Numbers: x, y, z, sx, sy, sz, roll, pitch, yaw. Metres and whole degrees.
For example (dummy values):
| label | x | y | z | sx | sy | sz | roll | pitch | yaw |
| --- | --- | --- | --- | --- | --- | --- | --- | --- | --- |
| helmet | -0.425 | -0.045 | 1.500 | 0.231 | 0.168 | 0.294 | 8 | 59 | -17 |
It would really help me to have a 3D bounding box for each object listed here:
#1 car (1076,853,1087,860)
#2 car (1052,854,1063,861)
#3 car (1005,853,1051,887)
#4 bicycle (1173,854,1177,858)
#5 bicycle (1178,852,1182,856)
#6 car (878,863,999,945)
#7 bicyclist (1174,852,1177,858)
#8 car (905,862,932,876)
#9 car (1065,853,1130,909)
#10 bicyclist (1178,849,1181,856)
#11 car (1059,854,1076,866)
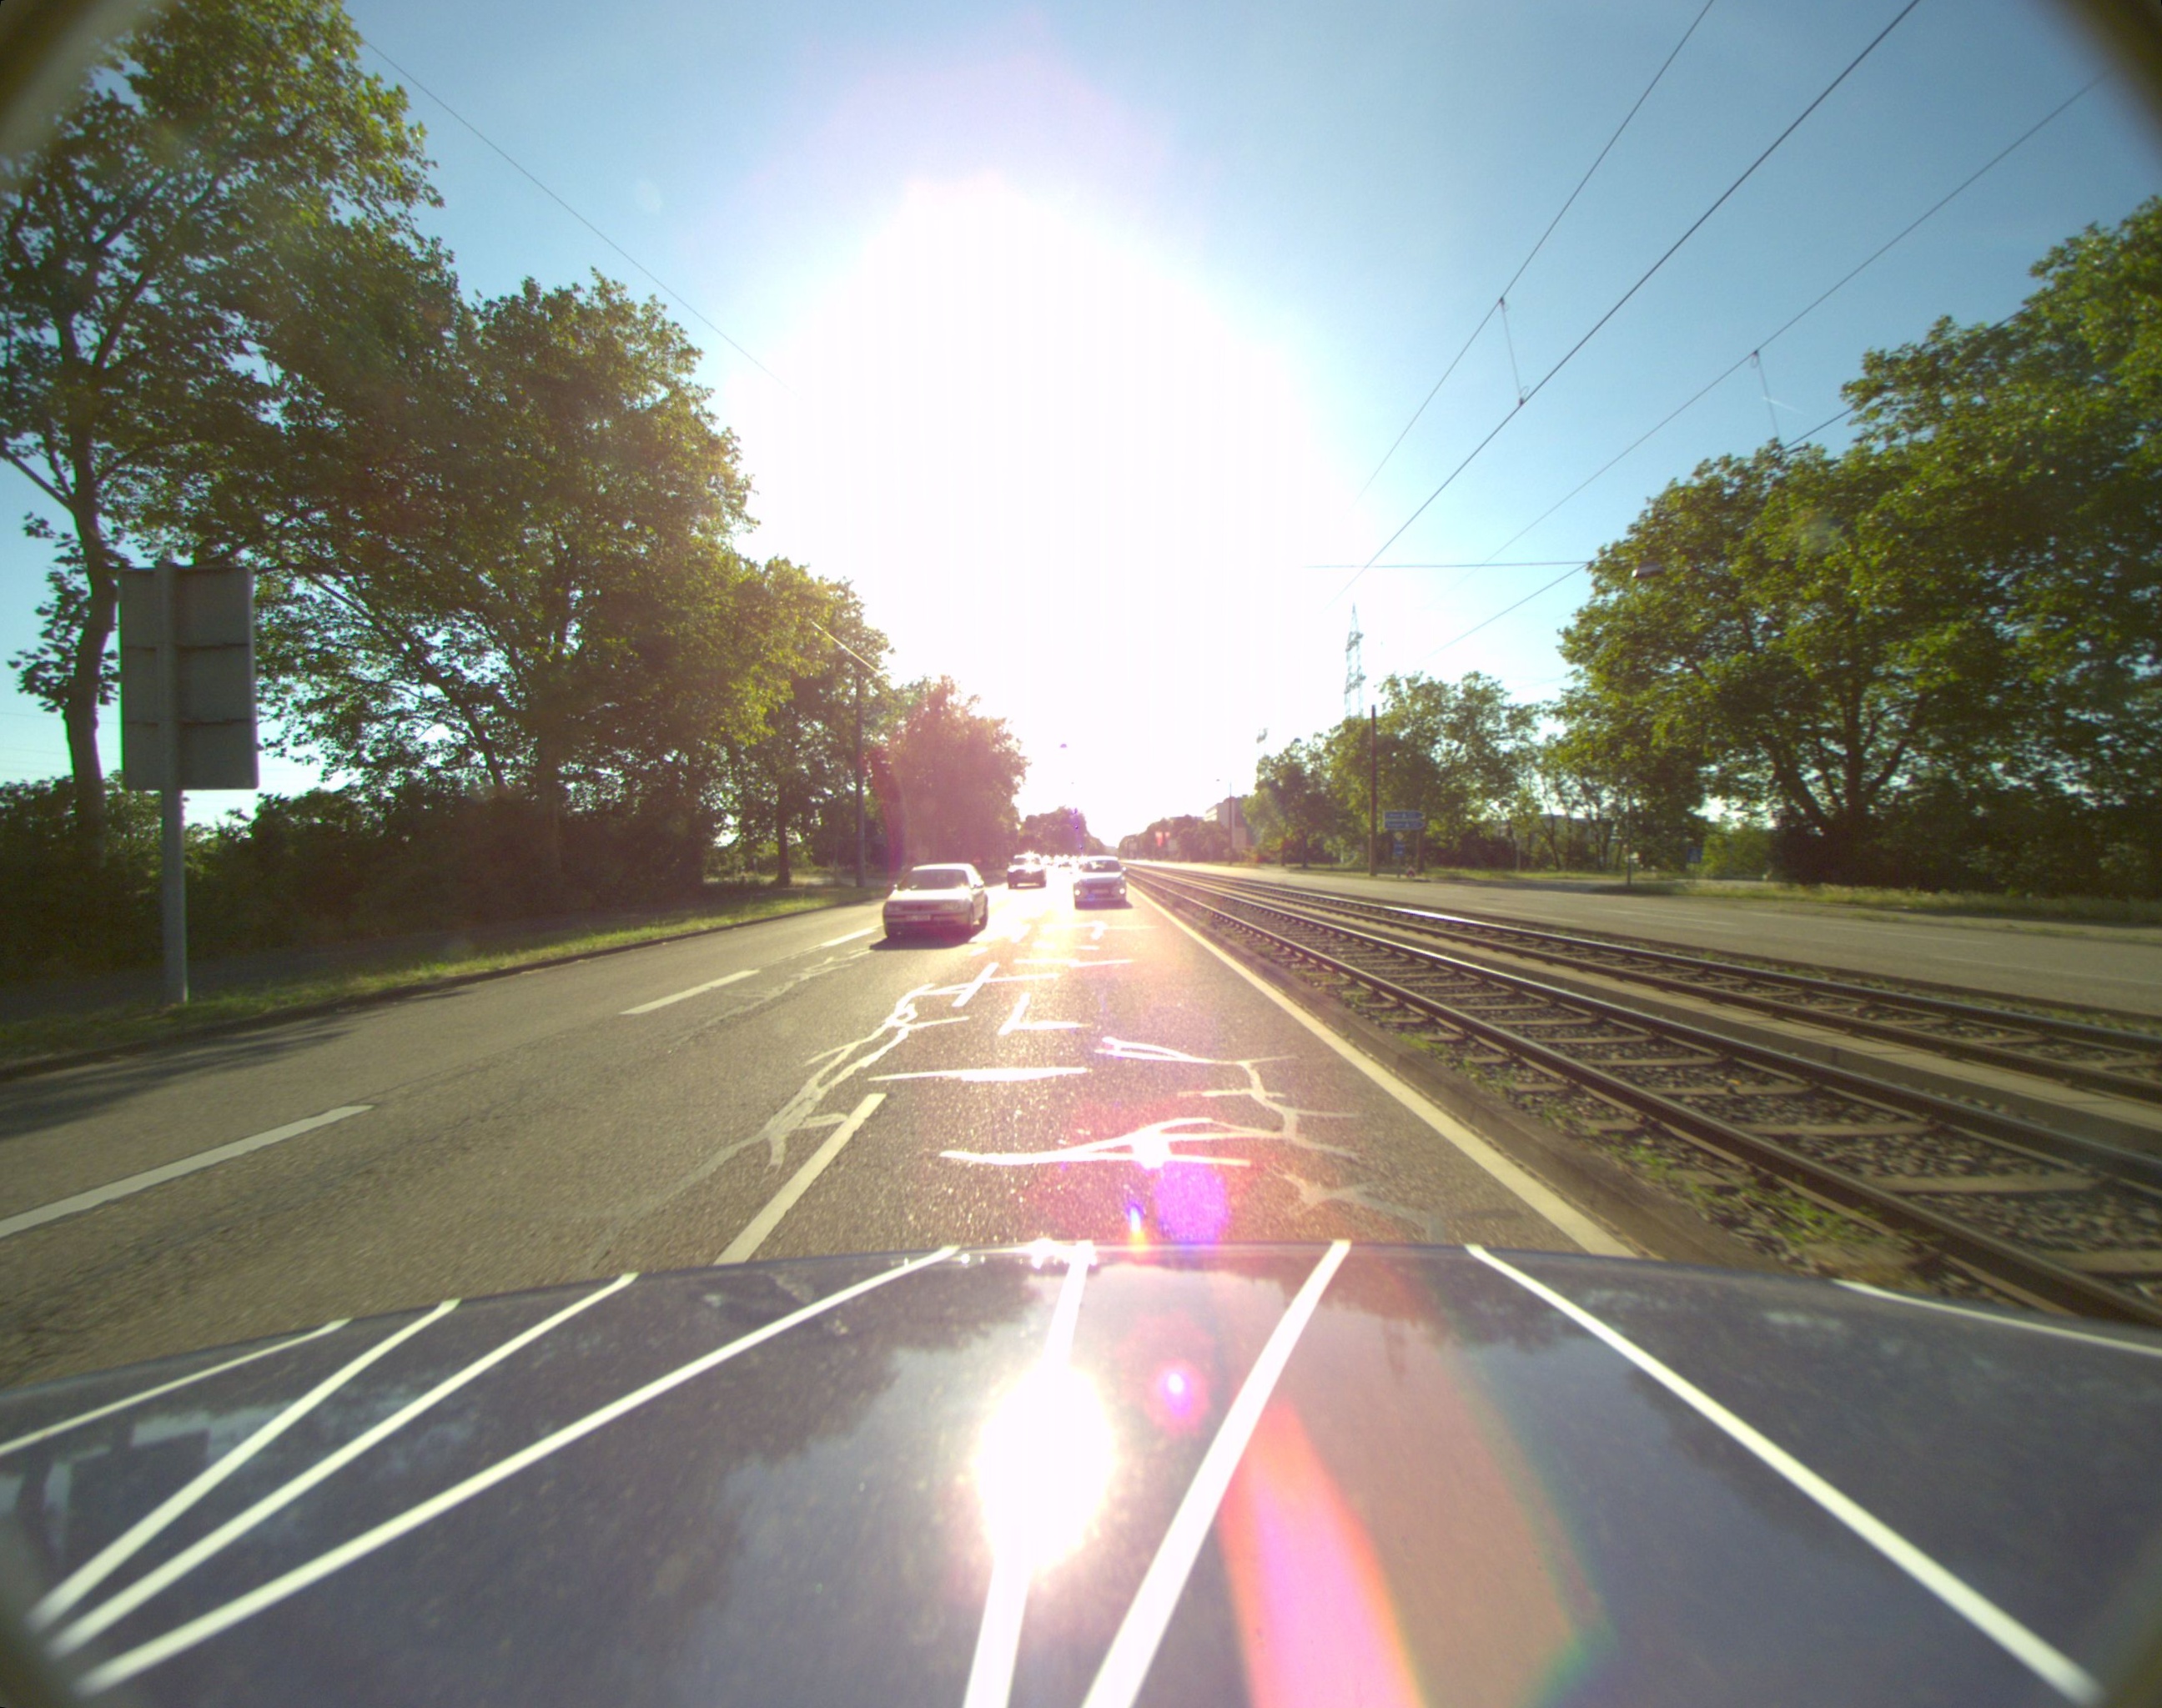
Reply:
| label | x | y | z | sx | sy | sz | roll | pitch | yaw |
| --- | --- | --- | --- | --- | --- | --- | --- | --- | --- |
| car | 0.158 | 0.526 | 159.510 | 1.880 | 1.449 | 4.417 | -1 | 1 | 5 |
| car | -4.761 | 0.696 | 155.219 | 1.880 | 1.449 | 4.417 | -1 | 1 | 5 |
| car | -2.680 | 0.803 | 39.576 | 1.881 | 1.591 | 4.417 | -1 | 1 | 2 |
| bicycle | 22.110 | 0.518 | 178.534 | 0.591 | 1.016 | 2.185 | 0 | 1 | 0 |
| bicycle | 23.147 | -0.049 | 177.714 | 0.591 | 1.016 | 2.185 | 0 | 1 | 0 |
| car | -2.929 | 0.976 | 16.450 | 1.725 | 1.437 | 4.001 | -1 | 1 | 2 |
| bicyclist | 22.108 | 0.227 | 178.366 | 0.591 | 1.601 | 0.967 | 0 | 1 | 0 |
| car | -18.681 | 1.699 | 87.623 | 1.881 | 1.435 | 4.660 | -1 | 1 | 3 |
| car | 0.578 | 0.792 | 24.626 | 1.881 | 1.591 | 4.417 | -1 | 1 | 2 |
| bicyclist | 23.146 | -0.324 | 177.698 | 0.591 | 1.519 | 0.906 | 0 | 1 | 0 |
| car | -1.658 | 0.725 | 95.771 | 1.881 | 1.449 | 4.417 | -1 | 1 | 2 |
